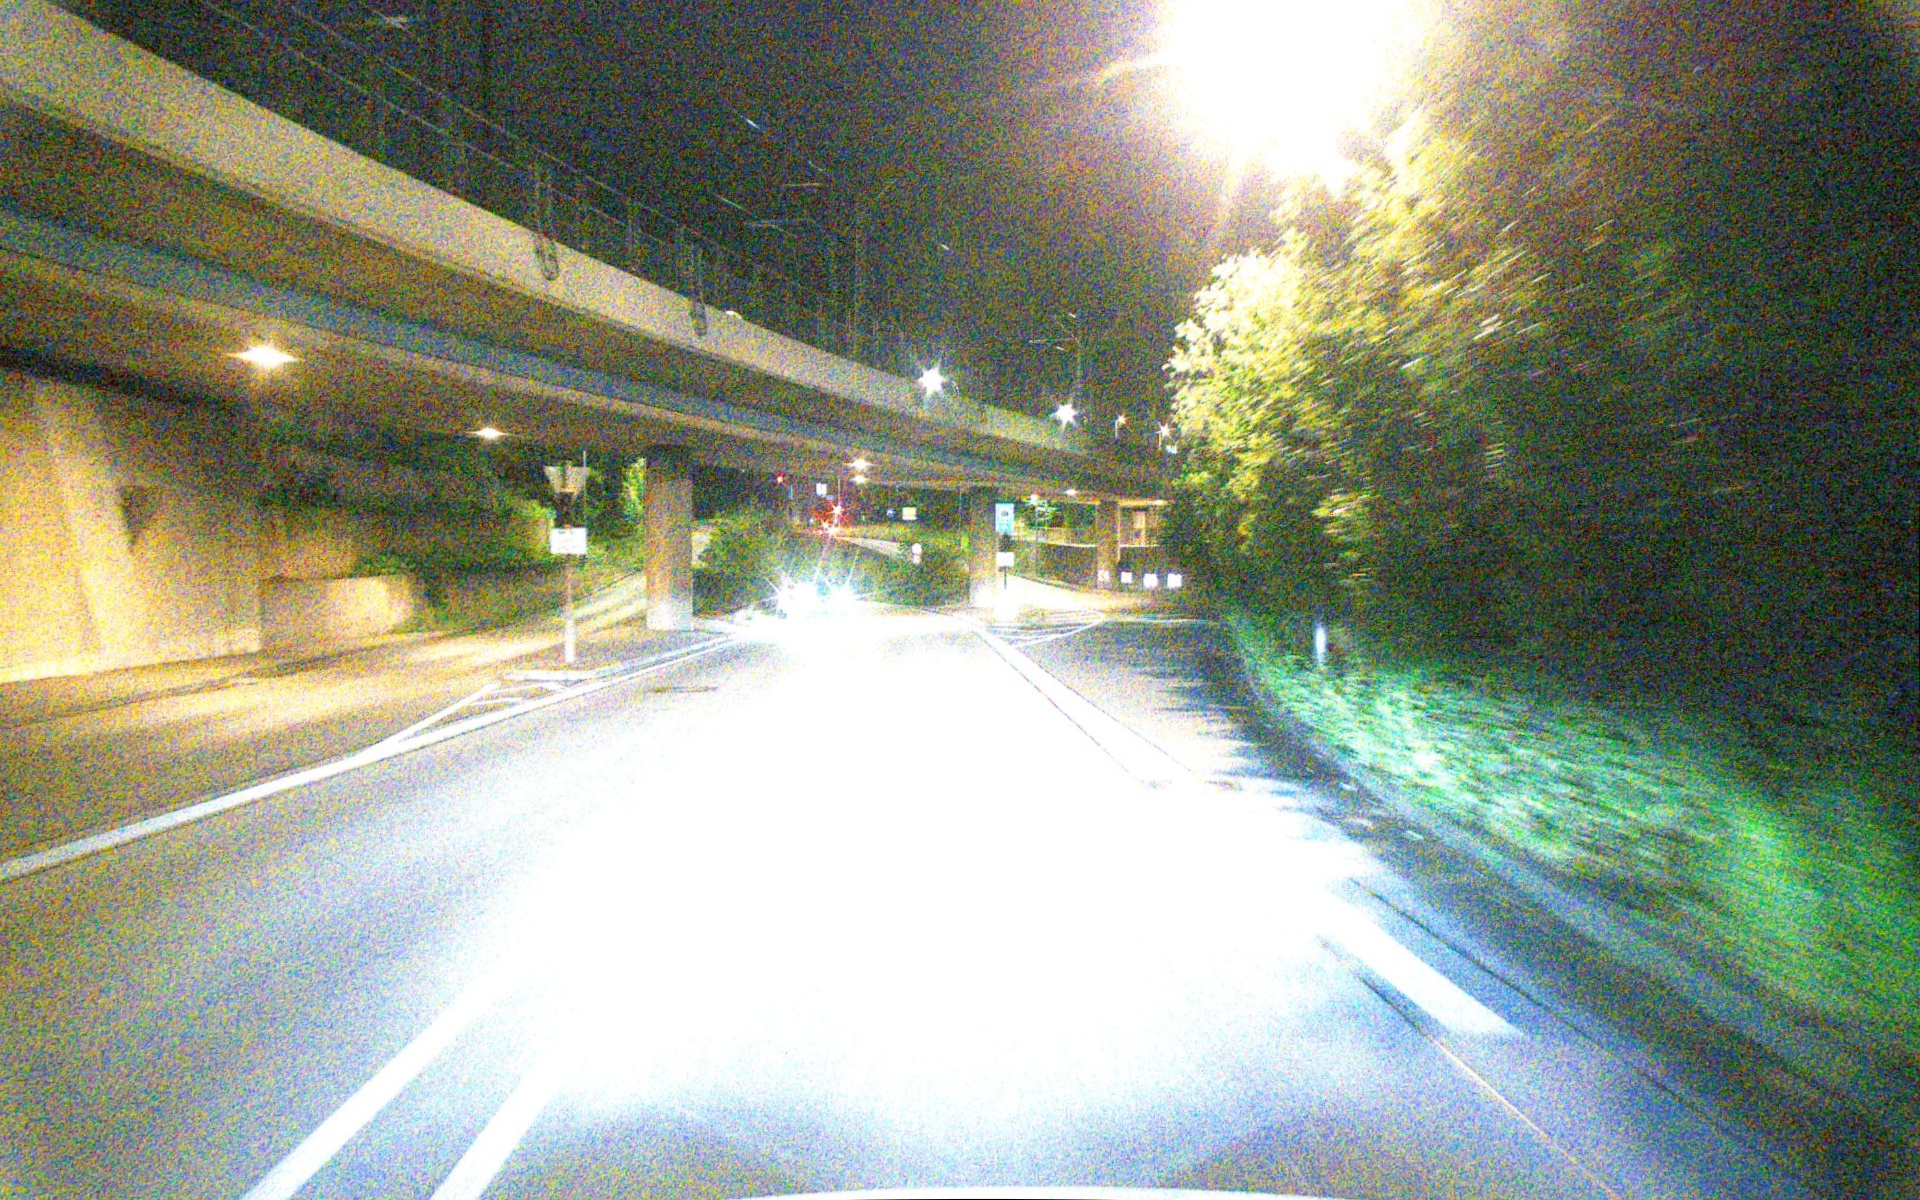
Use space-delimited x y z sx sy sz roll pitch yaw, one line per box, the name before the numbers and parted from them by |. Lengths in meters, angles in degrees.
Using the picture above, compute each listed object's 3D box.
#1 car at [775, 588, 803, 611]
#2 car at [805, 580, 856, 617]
car | -15.825 -0.036 152.742 1.887 2.049 4.105 2 -1 -15
car | -5.750 -0.057 73.977 1.843 1.581 4.218 -1 0 1
